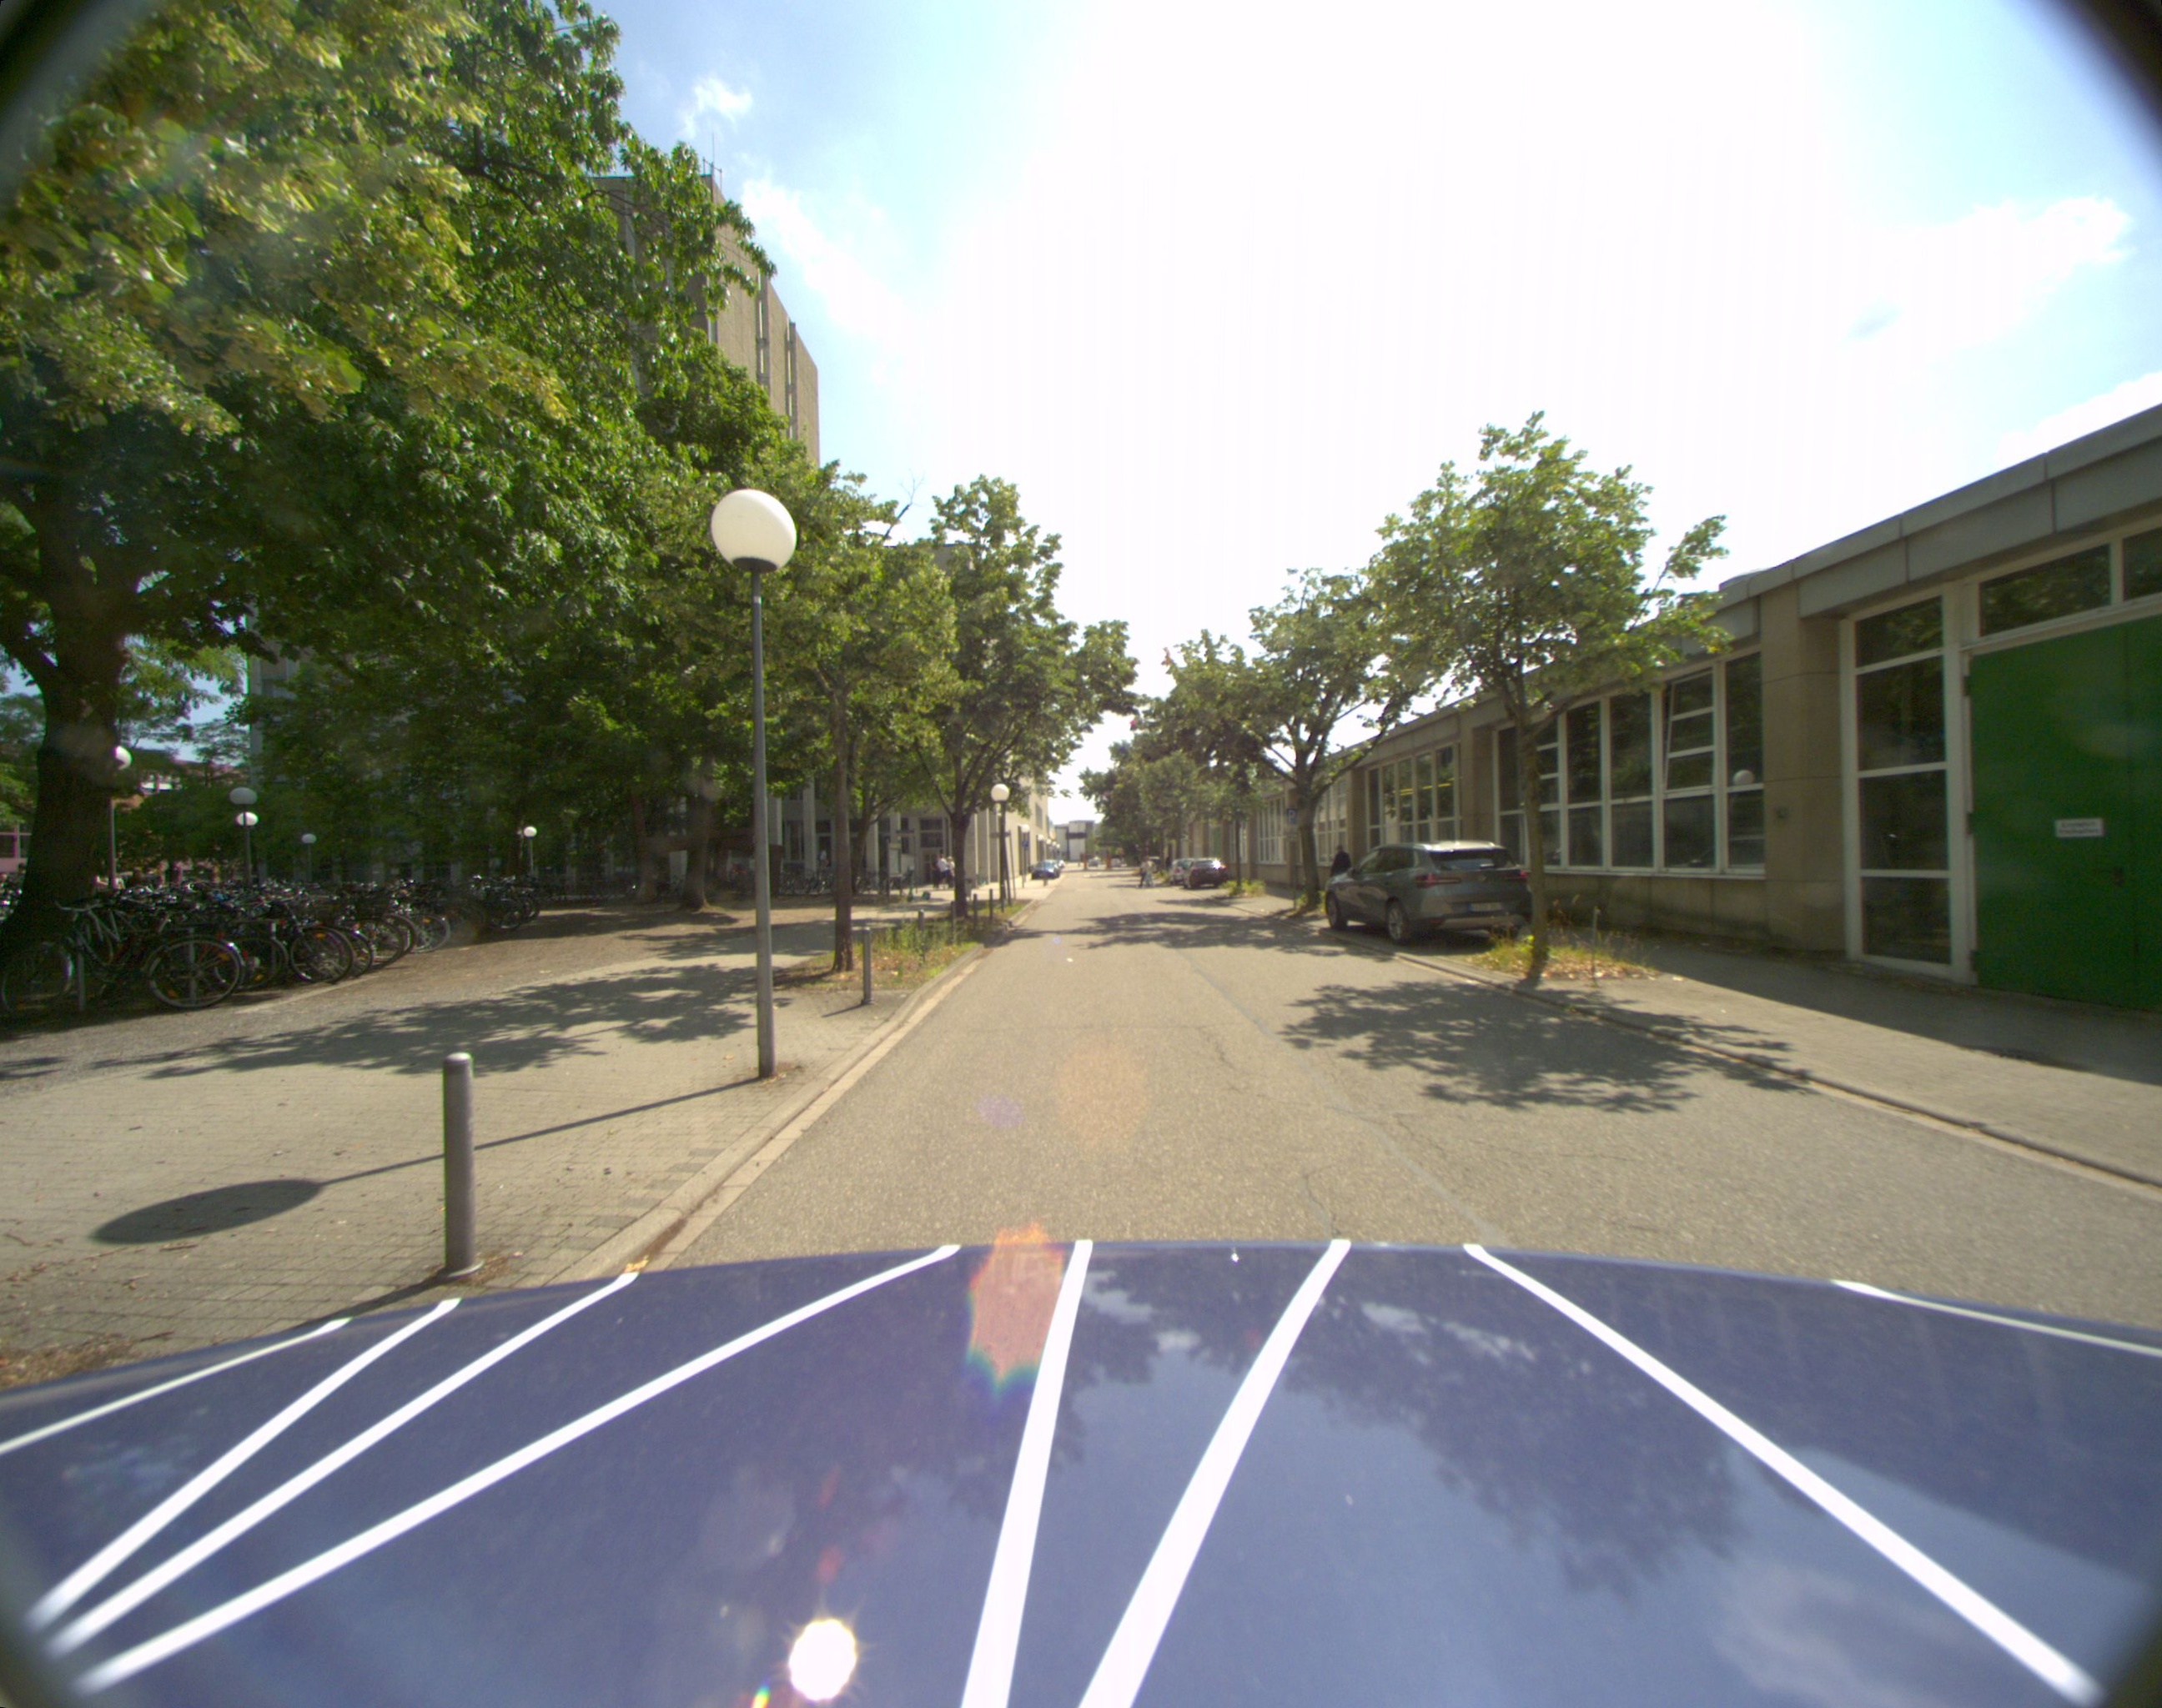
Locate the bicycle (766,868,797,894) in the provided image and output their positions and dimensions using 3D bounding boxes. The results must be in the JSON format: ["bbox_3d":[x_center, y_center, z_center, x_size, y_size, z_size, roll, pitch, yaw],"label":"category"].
[{"bbox_3d":[-13.476,1.214,34.198,0.565,1.118,1.697,0,-2,6],"label":"bicycle"}]

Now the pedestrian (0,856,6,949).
[{"bbox_3d":[-20.809,0.919,14.107,0.743,1.764,0.721,-1,0,10],"label":"pedestrian"}]

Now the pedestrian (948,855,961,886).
[{"bbox_3d":[-7.016,0.923,42.220,0.613,1.719,0.542,-1,1,2],"label":"pedestrian"}]

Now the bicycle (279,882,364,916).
[{"bbox_3d":[-24.304,1.429,24.342,0.477,0.973,1.908,0,0,41],"label":"bicycle"}]

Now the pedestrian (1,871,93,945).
[{"bbox_3d":[-25.479,1.300,18.750,0.964,1.764,0.971,-1,0,-21],"label":"pedestrian"}]

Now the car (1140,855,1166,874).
[{"bbox_3d":[6.095,0.865,64.871,1.803,1.440,3.676,-4,0,0],"label":"car"}]

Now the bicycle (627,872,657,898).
[{"bbox_3d":[-19.812,1.373,34.310,0.454,1.123,1.688,-3,-1,-4],"label":"bicycle"}]

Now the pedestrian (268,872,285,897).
[{"bbox_3d":[-38.348,1.457,36.207,0.402,1.205,0.387,-1,0,8],"label":"pedestrian"}]

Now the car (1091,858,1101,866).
[{"bbox_3d":[3.106,1.595,155.009,1.803,1.440,3.676,-4,0,0],"label":"car"}]

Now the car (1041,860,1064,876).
[{"bbox_3d":[-2.451,1.219,65.919,1.843,1.389,3.878,0,-1,1],"label":"car"}]

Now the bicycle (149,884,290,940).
[{"bbox_3d":[-18.128,1.202,16.050,1.907,1.076,0.477,0,0,-36],"label":"bicycle"}]

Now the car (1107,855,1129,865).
[{"bbox_3d":[6.515,1.068,134.760,3.674,1.440,1.804,-4,0,-1],"label":"car"}]

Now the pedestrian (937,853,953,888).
[{"bbox_3d":[-7.368,0.903,41.308,0.687,1.880,0.686,-2,2,-2],"label":"pedestrian"}]

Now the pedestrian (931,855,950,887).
[{"bbox_3d":[-7.815,0.937,42.263,0.811,1.786,0.618,-2,1,-43],"label":"pedestrian"}]

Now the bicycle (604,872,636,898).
[{"bbox_3d":[-20.660,1.370,34.099,0.454,1.123,1.688,-3,-1,-4],"label":"bicycle"}]

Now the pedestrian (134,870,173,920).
[{"bbox_3d":[-33.635,1.475,27.555,0.810,1.764,0.856,-1,0,37],"label":"pedestrian"}]

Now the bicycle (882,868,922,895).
[{"bbox_3d":[-7.812,1.178,33.194,0.604,1.135,1.790,1,1,33],"label":"bicycle"}]

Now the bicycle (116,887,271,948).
[{"bbox_3d":[-17.359,1.223,14.923,1.907,1.076,0.477,0,0,-36],"label":"bicycle"}]

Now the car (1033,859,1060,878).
[{"bbox_3d":[-2.697,1.143,60.171,1.843,1.389,3.878,0,-1,1],"label":"car"}]

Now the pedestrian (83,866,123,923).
[{"bbox_3d":[-30.907,1.263,24.018,0.719,1.764,0.746,-1,0,38],"label":"pedestrian"}]

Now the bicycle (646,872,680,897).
[{"bbox_3d":[-18.633,1.360,33.903,0.617,1.041,1.688,-3,-1,-4],"label":"bicycle"}]

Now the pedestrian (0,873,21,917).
[{"bbox_3d":[-38.247,1.448,26.916,0.693,1.503,0.513,2,-1,-43],"label":"pedestrian"}]

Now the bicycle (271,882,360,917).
[{"bbox_3d":[-23.481,1.371,23.349,1.908,0.973,0.477,0,0,-43],"label":"bicycle"}]

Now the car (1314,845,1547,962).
[{"bbox_3d":[5.835,0.724,13.413,1.826,1.623,4.516,-3,0,-2],"label":"car"}]

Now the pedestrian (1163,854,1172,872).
[{"bbox_3d":[7.758,0.816,68.398,0.604,1.571,0.552,1,0,31],"label":"pedestrian"}]

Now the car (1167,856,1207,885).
[{"bbox_3d":[5.881,0.907,42.490,1.634,1.440,3.752,-4,0,0],"label":"car"}]

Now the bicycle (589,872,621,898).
[{"bbox_3d":[-21.310,1.374,34.051,0.454,1.123,1.688,-3,-1,-4],"label":"bicycle"}]

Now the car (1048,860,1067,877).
[{"bbox_3d":[-2.493,1.549,80.791,1.799,1.691,4.001,2,-1,1],"label":"car"}]

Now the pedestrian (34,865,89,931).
[{"bbox_3d":[-28.075,1.195,20.934,0.746,1.764,0.719,-1,0,-40],"label":"pedestrian"}]

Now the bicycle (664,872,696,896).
[{"bbox_3d":[-17.916,1.332,33.979,0.617,1.041,1.688,-3,-1,-4],"label":"bicycle"}]

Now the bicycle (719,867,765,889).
[{"bbox_3d":[-17.154,1.214,38.492,1.929,1.036,0.818,-1,4,5],"label":"bicycle"}]

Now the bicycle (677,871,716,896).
[{"bbox_3d":[-17.179,1.314,33.988,0.617,1.041,1.698,-4,-1,8],"label":"bicycle"}]

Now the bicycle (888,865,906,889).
[{"bbox_3d":[-10.149,1.261,42.049,0.531,1.235,1.829,-1,1,0],"label":"bicycle"}]

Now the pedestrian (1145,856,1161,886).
[{"bbox_3d":[3.752,0.872,39.585,0.797,1.533,0.664,-1,0,4],"label":"pedestrian"}]

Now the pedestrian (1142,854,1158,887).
[{"bbox_3d":[3.644,0.881,40.277,0.797,1.718,0.601,-1,0,4],"label":"pedestrian"}]

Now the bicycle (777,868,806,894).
[{"bbox_3d":[-12.972,1.211,34.034,0.481,1.118,1.697,0,-2,6],"label":"bicycle"}]

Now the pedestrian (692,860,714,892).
[{"bbox_3d":[-20.883,1.214,41.966,0.938,1.730,0.748,-2,1,-19],"label":"pedestrian"}]

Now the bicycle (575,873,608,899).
[{"bbox_3d":[-21.893,1.409,34.002,0.454,1.123,1.688,-3,-1,-4],"label":"bicycle"}]

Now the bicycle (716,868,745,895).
[{"bbox_3d":[-15.706,1.228,34.087,0.628,1.143,1.695,-3,-1,-8],"label":"bicycle"}]

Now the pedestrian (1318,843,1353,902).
[{"bbox_3d":[7.956,0.571,23.778,0.790,1.776,0.670,-3,0,4],"label":"pedestrian"}]

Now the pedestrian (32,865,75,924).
[{"bbox_3d":[-31.484,1.234,23.294,0.719,1.764,0.746,-1,0,38],"label":"pedestrian"}]

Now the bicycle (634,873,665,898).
[{"bbox_3d":[-19.214,1.377,33.864,0.501,1.041,1.688,-3,-1,-4],"label":"bicycle"}]

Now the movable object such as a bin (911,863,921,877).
[{"bbox_3d":[-10.678,1.032,49.187,0.513,0.944,0.512,2,0,-1],"label":"movable object such as a bin"}]

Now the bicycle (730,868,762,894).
[{"bbox_3d":[-15.028,1.199,34.118,0.627,1.143,1.697,0,-1,2],"label":"bicycle"}]

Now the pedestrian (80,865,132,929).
[{"bbox_3d":[-27.456,1.192,21.411,0.746,1.764,0.719,-1,0,-40],"label":"pedestrian"}]

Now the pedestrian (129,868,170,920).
[{"bbox_3d":[-32.726,1.397,26.693,0.719,1.764,0.746,-1,0,26],"label":"pedestrian"}]

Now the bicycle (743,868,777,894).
[{"bbox_3d":[-14.317,1.191,33.944,0.627,1.118,1.697,0,-2,6],"label":"bicycle"}]

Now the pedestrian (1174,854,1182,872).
[{"bbox_3d":[8.687,0.788,68.358,0.605,1.571,0.551,1,0,-2],"label":"pedestrian"}]

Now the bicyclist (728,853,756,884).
[{"bbox_3d":[-17.174,0.752,38.491,0.958,1.533,0.839,1,-2,5],"label":"bicyclist"}]

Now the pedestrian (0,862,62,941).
[{"bbox_3d":[-24.212,1.083,17.443,0.746,1.764,0.719,-1,0,-31],"label":"pedestrian"}]

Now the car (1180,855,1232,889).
[{"bbox_3d":[6.010,0.862,37.021,1.729,1.427,4.290,-3,-1,0],"label":"car"}]

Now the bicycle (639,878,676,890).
[{"bbox_3d":[-26.779,1.884,48.066,1.989,0.755,0.644,0,-1,-2],"label":"bicycle"}]
